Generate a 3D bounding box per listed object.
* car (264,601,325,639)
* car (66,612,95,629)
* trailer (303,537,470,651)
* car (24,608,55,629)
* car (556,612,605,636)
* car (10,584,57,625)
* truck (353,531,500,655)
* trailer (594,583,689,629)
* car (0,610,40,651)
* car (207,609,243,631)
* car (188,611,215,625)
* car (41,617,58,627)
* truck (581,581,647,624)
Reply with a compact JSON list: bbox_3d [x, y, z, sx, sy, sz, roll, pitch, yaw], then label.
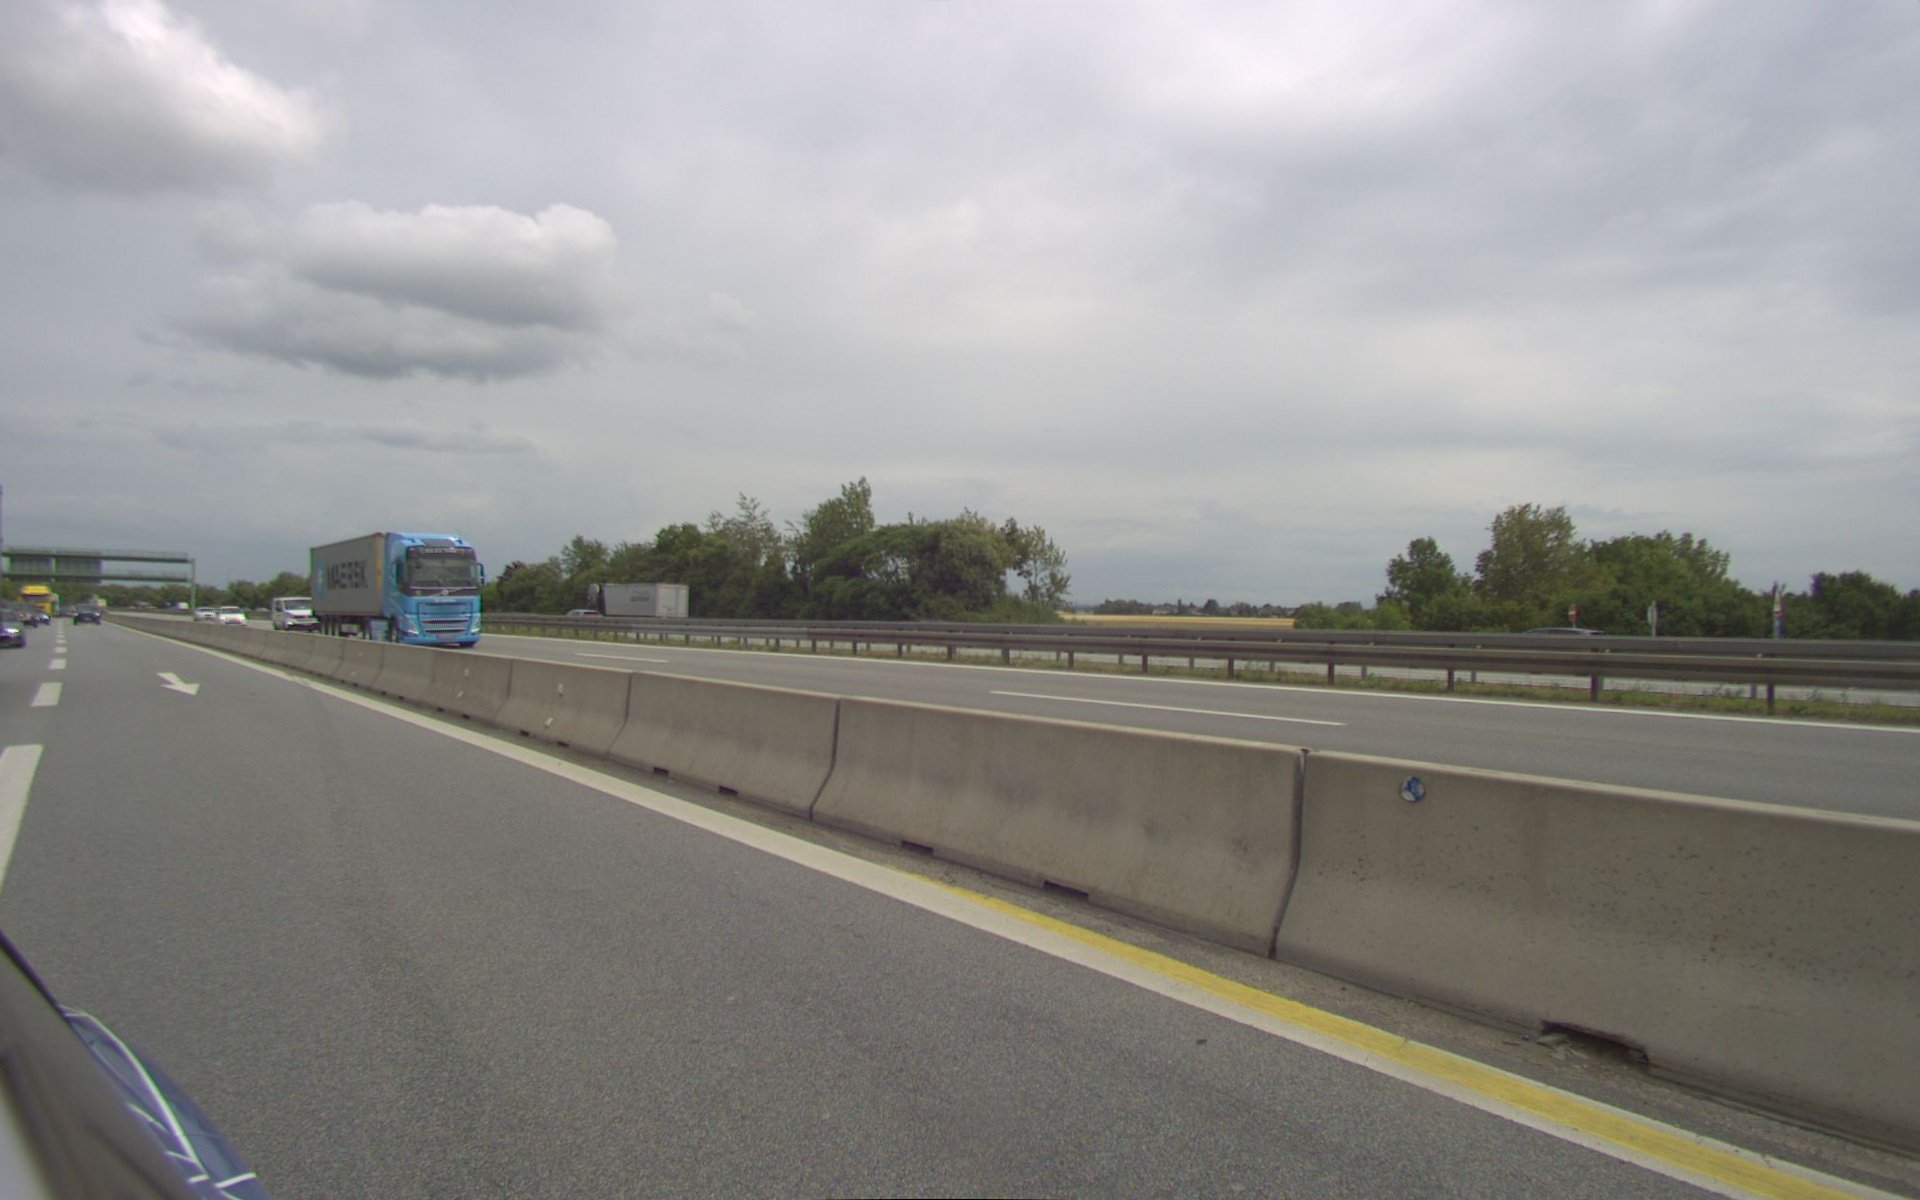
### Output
[{"bbox_3d":[-36.658,1.071,55.682,1.976,1.952,5.138,-1,1,-43],"label":"car"},{"bbox_3d":[-77.091,1.755,88.688,1.839,1.453,4.004,0,0,-43],"label":"car"},{"bbox_3d":[-23.371,-0.207,40.731,3.197,3.954,12.395,-1,0,-42],"label":"trailer"},{"bbox_3d":[-80.894,1.575,88.976,1.758,1.785,4.007,0,0,-39],"label":"car"},{"bbox_3d":[-24.916,1.542,66.419,1.666,1.496,4.009,0,0,-42],"label":"car"},{"bbox_3d":[-105.953,0.550,115.842,3.343,4.517,11.626,0,0,-40],"label":"car"},{"bbox_3d":[-18.994,-0.219,35.830,3.207,3.941,6.619,0,0,-41],"label":"truck"},{"bbox_3d":[-24.502,0.488,77.476,3.158,3.294,9.836,0,-1,-42],"label":"trailer"},{"bbox_3d":[-35.589,1.096,37.731,1.839,1.453,4.004,0,0,-43],"label":"car"},{"bbox_3d":[-52.957,1.452,72.894,1.660,1.496,3.779,0,-1,-42],"label":"car"},{"bbox_3d":[-78.464,1.879,104.617,1.731,1.379,4.209,0,0,-44],"label":"car"},{"bbox_3d":[-137.952,3.365,153.288,1.839,1.453,4.004,0,-1,-43],"label":"car"},{"bbox_3d":[-27.811,0.229,81.217,3.112,3.355,5.629,0,0,-42],"label":"truck"}]
